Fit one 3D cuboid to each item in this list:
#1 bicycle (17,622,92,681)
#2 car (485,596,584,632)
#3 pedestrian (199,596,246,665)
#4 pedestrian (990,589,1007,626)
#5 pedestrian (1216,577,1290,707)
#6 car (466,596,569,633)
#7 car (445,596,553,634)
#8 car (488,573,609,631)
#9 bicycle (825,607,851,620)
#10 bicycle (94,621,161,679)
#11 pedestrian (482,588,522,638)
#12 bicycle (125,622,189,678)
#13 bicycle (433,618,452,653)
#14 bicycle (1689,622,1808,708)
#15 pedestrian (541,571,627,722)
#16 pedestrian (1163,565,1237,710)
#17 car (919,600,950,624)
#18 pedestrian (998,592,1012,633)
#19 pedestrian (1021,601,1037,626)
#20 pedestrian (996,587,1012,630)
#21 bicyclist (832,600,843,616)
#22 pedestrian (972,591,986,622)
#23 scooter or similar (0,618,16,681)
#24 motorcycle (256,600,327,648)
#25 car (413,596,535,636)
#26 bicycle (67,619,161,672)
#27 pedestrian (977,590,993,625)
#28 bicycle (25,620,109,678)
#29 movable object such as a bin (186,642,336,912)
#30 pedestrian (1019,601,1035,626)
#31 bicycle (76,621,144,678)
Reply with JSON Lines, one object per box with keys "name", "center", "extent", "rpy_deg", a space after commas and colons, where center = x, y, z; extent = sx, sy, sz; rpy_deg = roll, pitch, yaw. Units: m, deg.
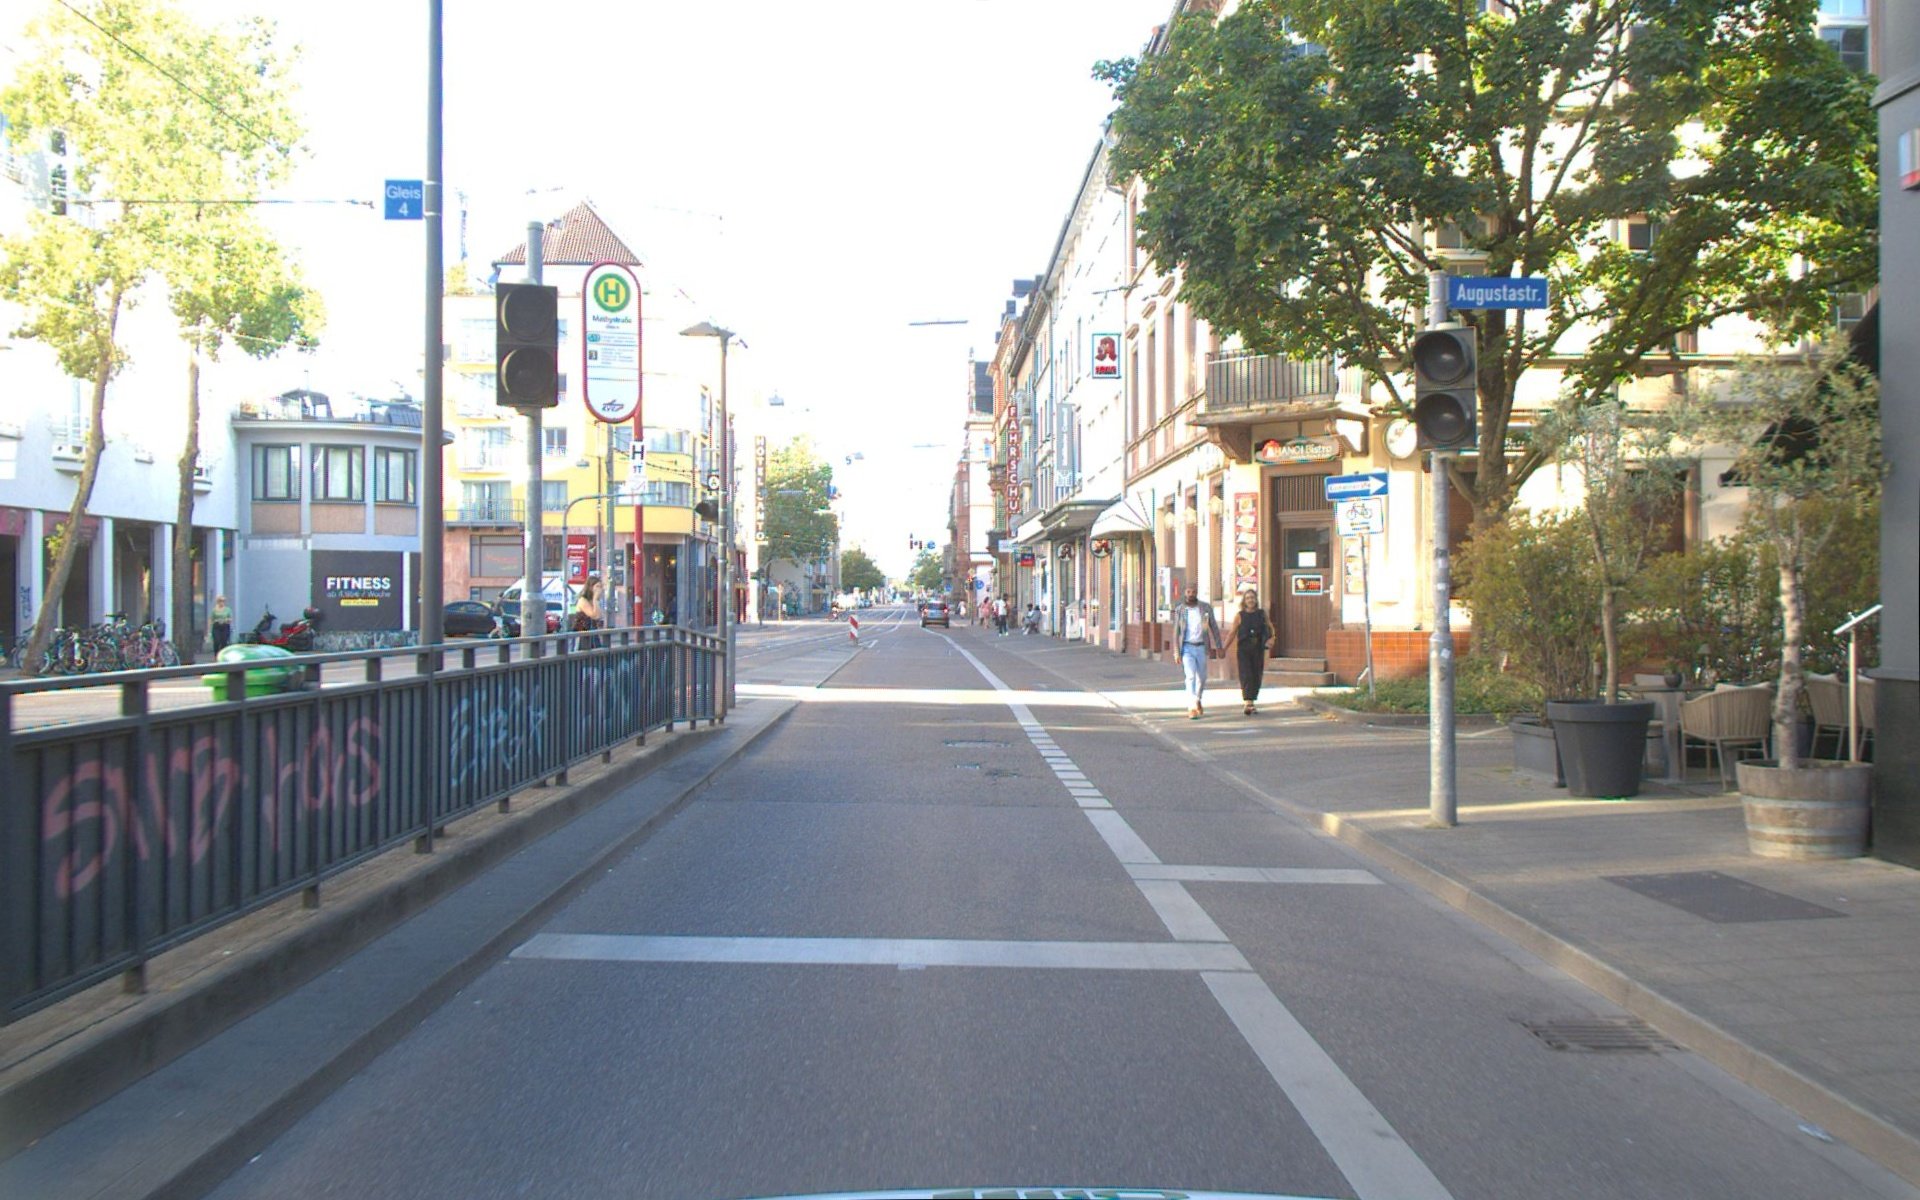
{"name": "bicycle", "center": [-18.349, 1.032, 33.535], "extent": [0.489, 1.127, 1.271], "rpy_deg": [2, 1, 25]}
{"name": "car", "center": [-18.684, 0.603, 72.700], "extent": [3.906, 1.537, 1.800], "rpy_deg": [0, 0, -1]}
{"name": "pedestrian", "center": [-18.778, 0.774, 42.124], "extent": [1.002, 1.690, 0.913], "rpy_deg": [2, 0, -27]}
{"name": "pedestrian", "center": [2.068, 0.400, 88.751], "extent": [0.831, 1.951, 1.034], "rpy_deg": [-1, 0, -3]}
{"name": "pedestrian", "center": [3.821, 0.533, 21.635], "extent": [0.699, 1.630, 0.772], "rpy_deg": [-3, 1, -5]}
{"name": "car", "center": [-18.753, 0.609, 70.166], "extent": [3.906, 1.537, 1.800], "rpy_deg": [0, 0, -1]}
{"name": "car", "center": [-18.792, 0.613, 67.584], "extent": [3.906, 1.537, 1.800], "rpy_deg": [0, 0, -1]}
{"name": "car", "center": [-18.682, 0.089, 75.281], "extent": [5.002, 2.621, 2.128], "rpy_deg": [0, 0, -1]}
{"name": "bicycle", "center": [-9.776, 1.078, 132.292], "extent": [1.893, 1.021, 0.754], "rpy_deg": [-1, 0, 16]}
{"name": "bicycle", "center": [-17.625, 1.051, 35.049], "extent": [0.488, 1.127, 1.800], "rpy_deg": [2, 1, -1]}
{"name": "pedestrian", "center": [-16.934, 0.472, 61.167], "extent": [1.142, 1.846, 0.897], "rpy_deg": [0, 0, -42]}
{"name": "bicycle", "center": [-17.282, 1.063, 35.617], "extent": [0.488, 1.127, 1.800], "rpy_deg": [2, 1, -1]}
{"name": "bicycle", "center": [-17.160, 1.171, 54.846], "extent": [0.490, 1.127, 1.794], "rpy_deg": [0, 0, -13]}
{"name": "bicycle", "center": [9.844, 0.801, 20.675], "extent": [1.293, 1.032, 0.459], "rpy_deg": [0, 1, 18]}
{"name": "pedestrian", "center": [-4.471, 0.537, 19.723], "extent": [0.852, 1.744, 0.787], "rpy_deg": [1, 1, -4]}
{"name": "pedestrian", "center": [3.108, 0.468, 21.447], "extent": [0.699, 1.805, 0.772], "rpy_deg": [-3, 1, -5]}
{"name": "car", "center": [-1.633, 0.743, 106.196], "extent": [1.953, 1.475, 3.999], "rpy_deg": [0, 0, -2]}
{"name": "pedestrian", "center": [2.002, 0.546, 73.618], "extent": [0.548, 1.828, 0.651], "rpy_deg": [-1, 0, 5]}
{"name": "pedestrian", "center": [2.937, 0.583, 70.425], "extent": [0.676, 1.061, 0.681], "rpy_deg": [-1, 0, 3]}
{"name": "pedestrian", "center": [1.900, 0.354, 71.282], "extent": [0.635, 1.828, 0.562], "rpy_deg": [-1, 0, 3]}
{"name": "bicyclist", "center": [-9.806, 0.636, 132.301], "extent": [0.695, 1.242, 0.754], "rpy_deg": [-1, 0, 16]}
{"name": "pedestrian", "center": [1.210, 0.428, 105.152], "extent": [0.826, 1.951, 0.846], "rpy_deg": [-1, 0, -3]}
{"name": "scooter or similar", "center": [-19.119, 0.978, 32.255], "extent": [0.488, 1.213, 1.273], "rpy_deg": [2, 1, 10]}
{"name": "motorcycle", "center": [-19.466, 0.706, 48.179], "extent": [1.760, 1.320, 0.605], "rpy_deg": [2, 0, -8]}
{"name": "car", "center": [-19.022, 0.624, 64.888], "extent": [4.232, 1.537, 1.800], "rpy_deg": [0, 0, -1]}
{"name": "bicycle", "center": [-18.594, 0.991, 36.378], "extent": [0.491, 1.127, 1.791], "rpy_deg": [2, 1, 38]}
{"name": "pedestrian", "center": [1.417, 0.423, 93.374], "extent": [0.826, 1.951, 0.661], "rpy_deg": [-1, 0, -3]}
{"name": "bicycle", "center": [-18.717, 1.007, 34.710], "extent": [0.488, 1.127, 1.802], "rpy_deg": [2, 1, 10]}
{"name": "movable object such as a bin", "center": [-2.641, 0.650, 6.279], "extent": [0.345, 0.961, 0.530], "rpy_deg": [-1, 0, -3]}
{"name": "pedestrian", "center": [2.898, 0.587, 71.150], "extent": [0.676, 1.061, 0.681], "rpy_deg": [-1, 0, 3]}
{"name": "bicycle", "center": [-18.047, 1.036, 35.149], "extent": [0.488, 1.127, 1.800], "rpy_deg": [2, 1, -1]}
